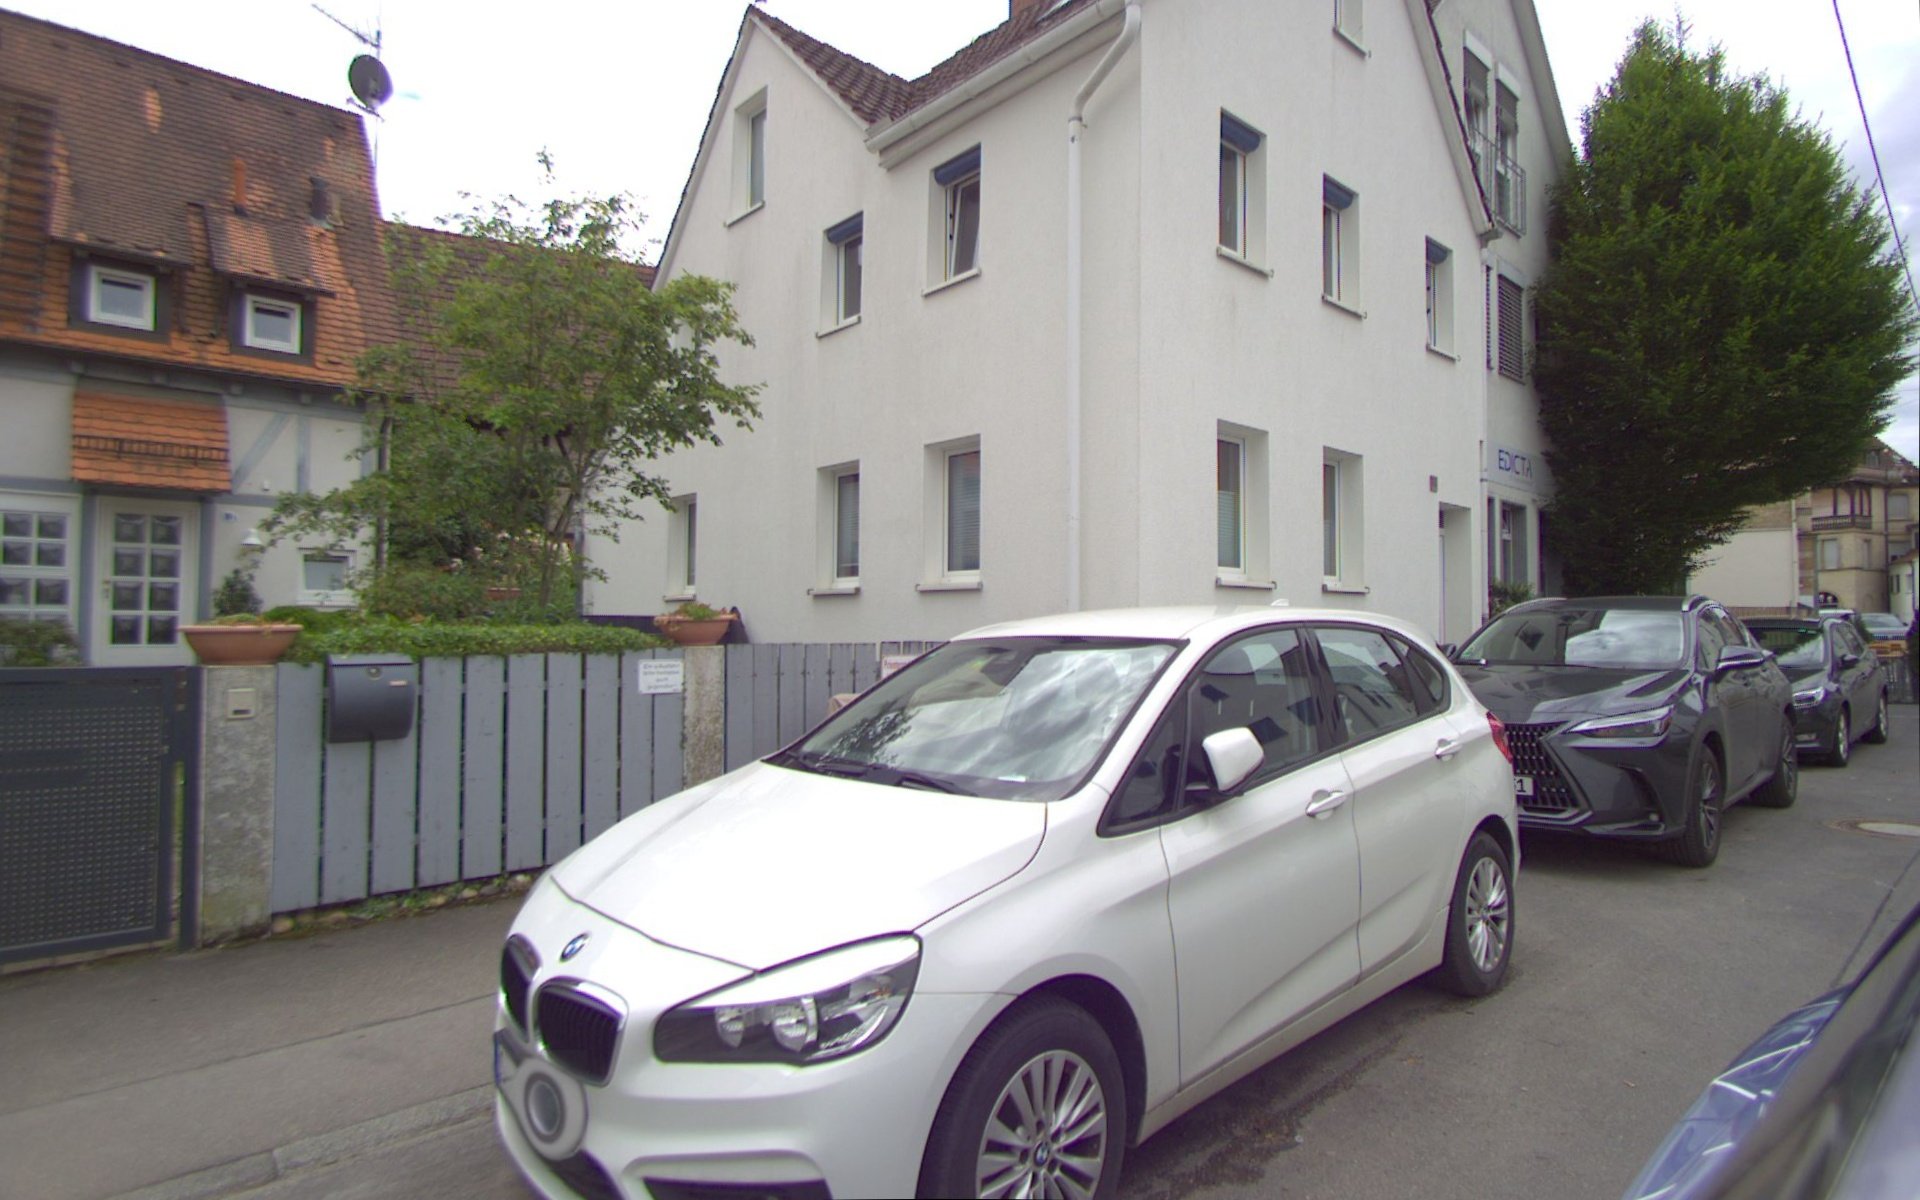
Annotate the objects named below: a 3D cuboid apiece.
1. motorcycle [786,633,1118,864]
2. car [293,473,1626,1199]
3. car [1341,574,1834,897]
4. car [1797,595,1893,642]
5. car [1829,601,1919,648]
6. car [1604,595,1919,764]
[{"bbox_3d":[0.008,0.859,6.609,2.131,1.187,0.820,-1,1,-39],"label":"motorcycle"},{"bbox_3d":[0.504,0.674,3.760,4.792,1.636,1.997,0,-2,-40],"label":"car"},{"bbox_3d":[4.890,0.696,7.527,4.818,1.654,1.865,0,-1,-42],"label":"car"},{"bbox_3d":[36.057,0.775,41.344,1.813,1.815,4.180,-1,-2,26],"label":"car"},{"bbox_3d":[33.611,0.874,36.918,1.776,1.621,4.499,-1,-1,27],"label":"car"},{"bbox_3d":[9.231,0.743,11.494,4.736,1.527,1.951,0,-2,-41],"label":"car"}]
